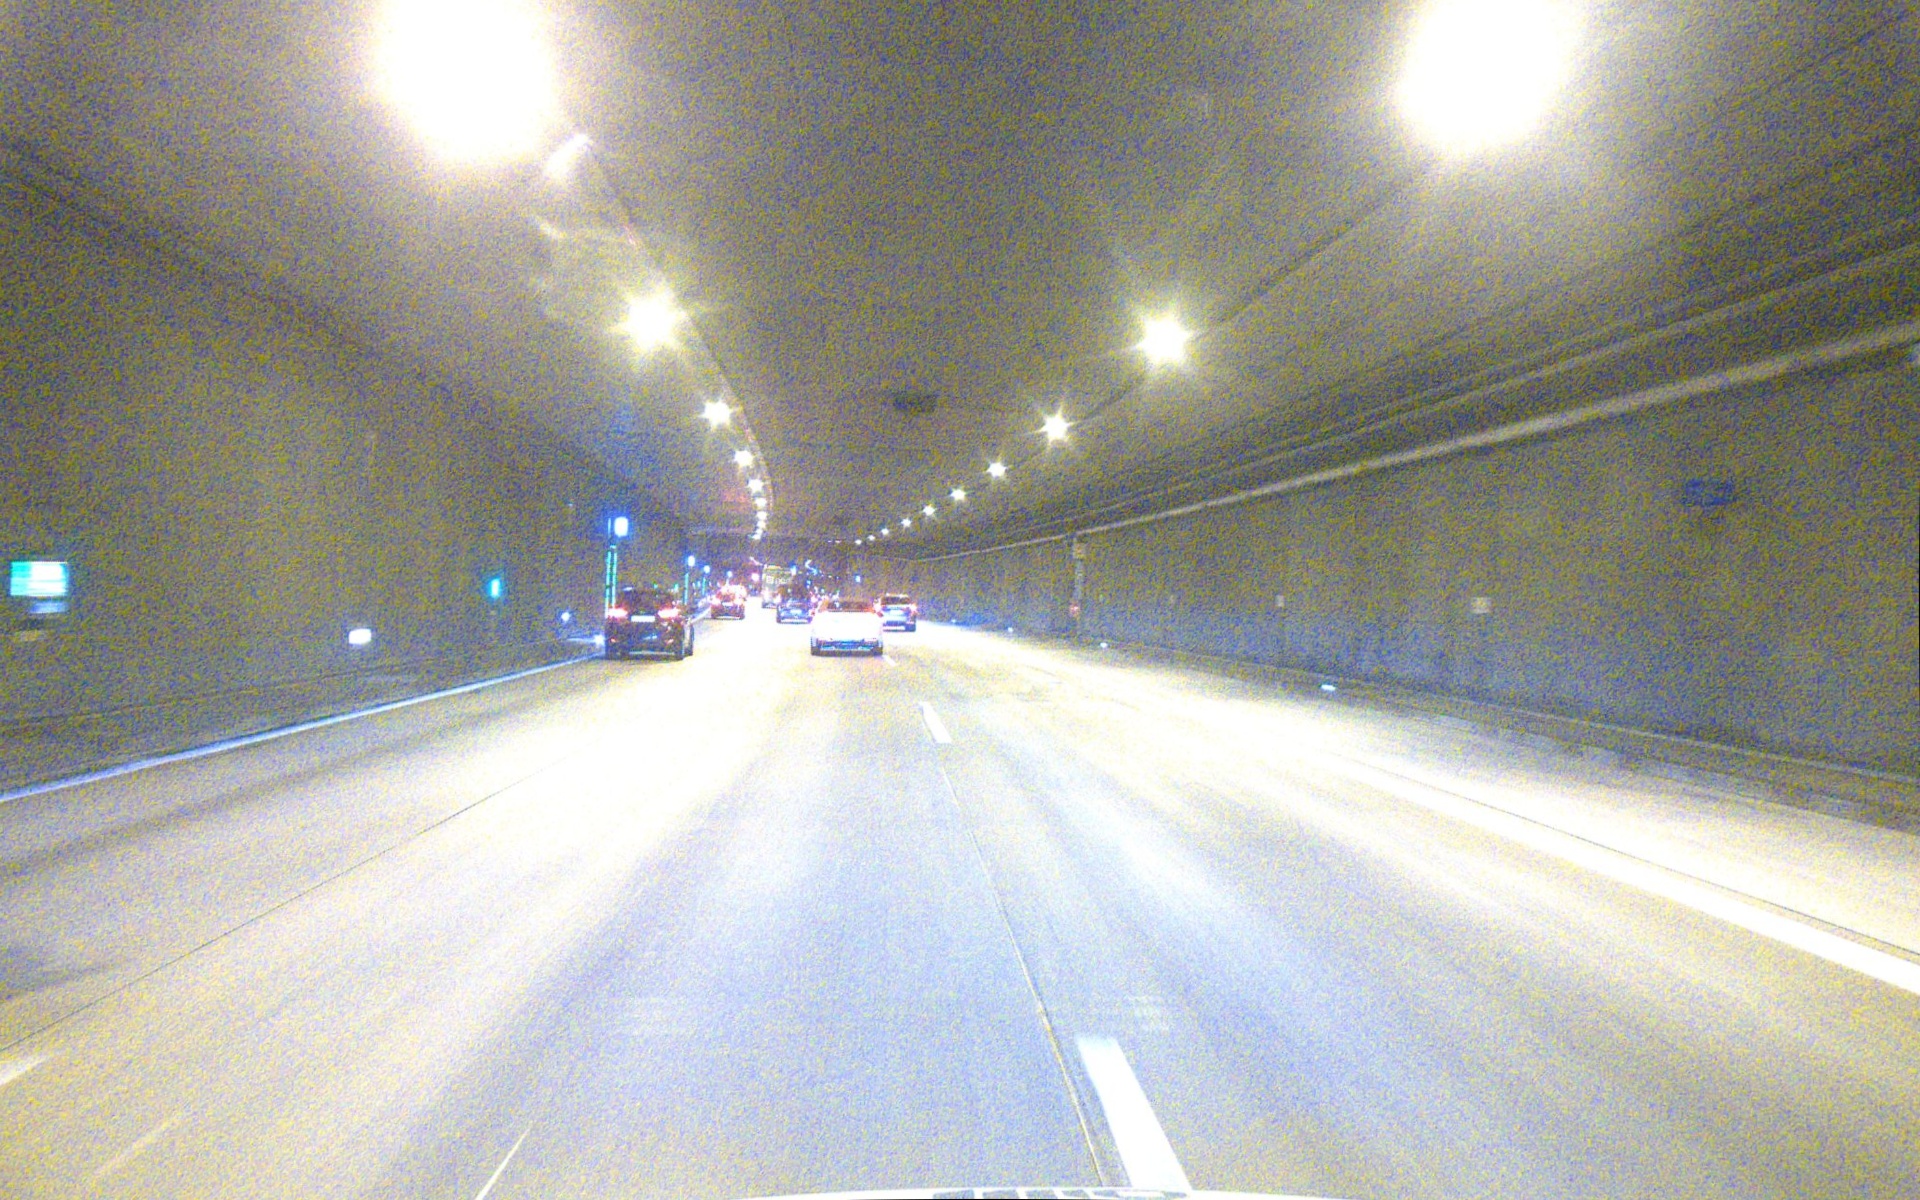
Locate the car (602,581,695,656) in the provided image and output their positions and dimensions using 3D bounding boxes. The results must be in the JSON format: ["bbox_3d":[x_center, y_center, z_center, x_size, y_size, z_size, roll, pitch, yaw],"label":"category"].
[{"bbox_3d":[-7.102,0.403,38.027,1.751,1.626,3.797,0,0,-5],"label":"car"}]

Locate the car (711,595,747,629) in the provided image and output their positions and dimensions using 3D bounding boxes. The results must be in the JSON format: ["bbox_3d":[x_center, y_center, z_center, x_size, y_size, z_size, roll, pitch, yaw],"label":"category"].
[{"bbox_3d":[-12.135,0.598,86.993,1.766,1.713,3.993,1,0,-7],"label":"car"}]

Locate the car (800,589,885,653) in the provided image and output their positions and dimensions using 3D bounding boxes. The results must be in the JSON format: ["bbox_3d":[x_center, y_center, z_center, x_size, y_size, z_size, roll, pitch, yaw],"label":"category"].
[{"bbox_3d":[-2.912,0.498,41.748,1.953,1.509,3.999,1,0,-2],"label":"car"}]

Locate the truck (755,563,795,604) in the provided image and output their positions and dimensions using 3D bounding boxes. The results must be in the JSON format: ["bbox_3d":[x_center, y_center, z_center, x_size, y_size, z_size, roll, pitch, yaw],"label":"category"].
[{"bbox_3d":[-15.068,-1.388,134.603,3.024,3.167,10.016,2,1,-6],"label":"truck"}]

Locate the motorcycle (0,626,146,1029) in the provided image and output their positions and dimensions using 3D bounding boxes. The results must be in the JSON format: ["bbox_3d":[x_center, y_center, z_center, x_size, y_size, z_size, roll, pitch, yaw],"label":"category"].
[{"bbox_3d":[-3.495,0.734,4.840,0.828,1.267,2.605,1,0,2],"label":"motorcycle"}]

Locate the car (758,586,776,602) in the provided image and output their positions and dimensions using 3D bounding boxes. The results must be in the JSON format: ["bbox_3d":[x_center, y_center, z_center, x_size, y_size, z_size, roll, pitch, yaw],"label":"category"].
[{"bbox_3d":[-21.763,-0.679,186.944,1.955,1.785,3.995,2,0,-6],"label":"car"}]

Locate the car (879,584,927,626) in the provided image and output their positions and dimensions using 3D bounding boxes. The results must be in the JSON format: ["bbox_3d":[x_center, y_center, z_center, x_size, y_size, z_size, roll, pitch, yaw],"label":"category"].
[{"bbox_3d":[-2.356,0.196,67.412,1.803,1.630,3.997,1,0,-4],"label":"car"}]

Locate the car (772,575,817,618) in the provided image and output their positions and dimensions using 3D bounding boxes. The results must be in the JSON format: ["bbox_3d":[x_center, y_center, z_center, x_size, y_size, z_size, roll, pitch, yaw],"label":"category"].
[{"bbox_3d":[-7.923,-0.168,79.611,1.954,2.006,3.997,1,0,-3],"label":"car"}]
